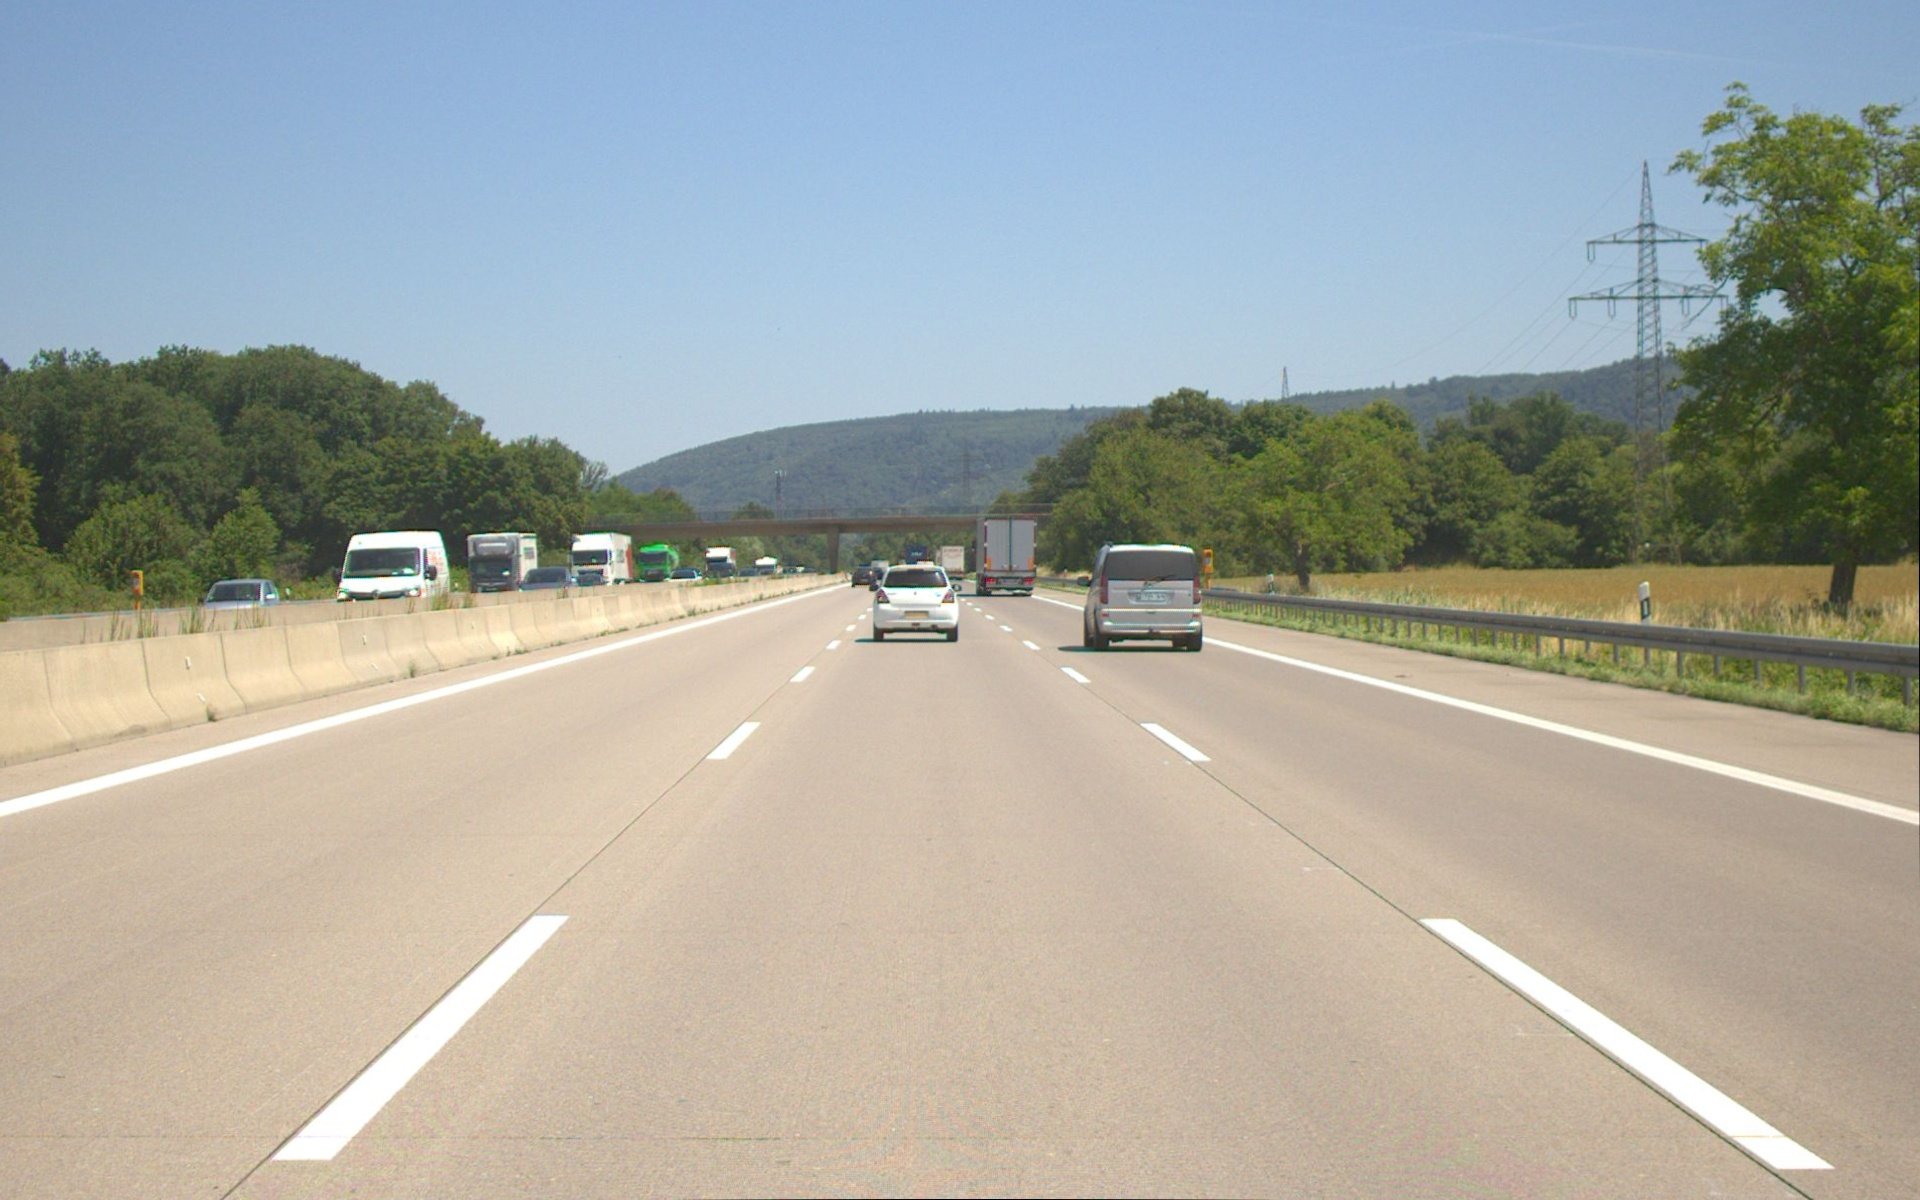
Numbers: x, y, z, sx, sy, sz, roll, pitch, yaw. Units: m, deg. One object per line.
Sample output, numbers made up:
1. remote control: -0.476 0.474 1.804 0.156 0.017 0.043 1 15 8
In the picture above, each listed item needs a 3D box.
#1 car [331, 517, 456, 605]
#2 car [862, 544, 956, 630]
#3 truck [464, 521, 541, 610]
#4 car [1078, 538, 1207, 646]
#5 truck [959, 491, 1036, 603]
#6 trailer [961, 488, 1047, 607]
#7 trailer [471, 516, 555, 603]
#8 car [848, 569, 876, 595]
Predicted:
1. car: -13.485 -0.954 82.142 2.068 2.007 5.981 1 1 -1
2. car: -1.038 -0.285 68.801 1.819 1.656 4.000 0 1 -1
3. truck: -21.823 -1.666 164.208 2.953 4.113 5.086 1 1 0
4. car: 3.236 -0.176 61.726 1.993 1.842 4.000 1 1 -1
5. truck: 1.942 -2.796 182.368 3.720 5.791 7.054 1 1 -2
6. trailer: 2.186 -2.684 175.720 3.720 5.791 12.163 1 1 -2
7. trailer: -21.830 -1.996 168.255 2.953 4.091 8.484 1 1 0
8. car: -6.954 -1.297 244.110 1.928 1.787 4.000 1 1 -1
